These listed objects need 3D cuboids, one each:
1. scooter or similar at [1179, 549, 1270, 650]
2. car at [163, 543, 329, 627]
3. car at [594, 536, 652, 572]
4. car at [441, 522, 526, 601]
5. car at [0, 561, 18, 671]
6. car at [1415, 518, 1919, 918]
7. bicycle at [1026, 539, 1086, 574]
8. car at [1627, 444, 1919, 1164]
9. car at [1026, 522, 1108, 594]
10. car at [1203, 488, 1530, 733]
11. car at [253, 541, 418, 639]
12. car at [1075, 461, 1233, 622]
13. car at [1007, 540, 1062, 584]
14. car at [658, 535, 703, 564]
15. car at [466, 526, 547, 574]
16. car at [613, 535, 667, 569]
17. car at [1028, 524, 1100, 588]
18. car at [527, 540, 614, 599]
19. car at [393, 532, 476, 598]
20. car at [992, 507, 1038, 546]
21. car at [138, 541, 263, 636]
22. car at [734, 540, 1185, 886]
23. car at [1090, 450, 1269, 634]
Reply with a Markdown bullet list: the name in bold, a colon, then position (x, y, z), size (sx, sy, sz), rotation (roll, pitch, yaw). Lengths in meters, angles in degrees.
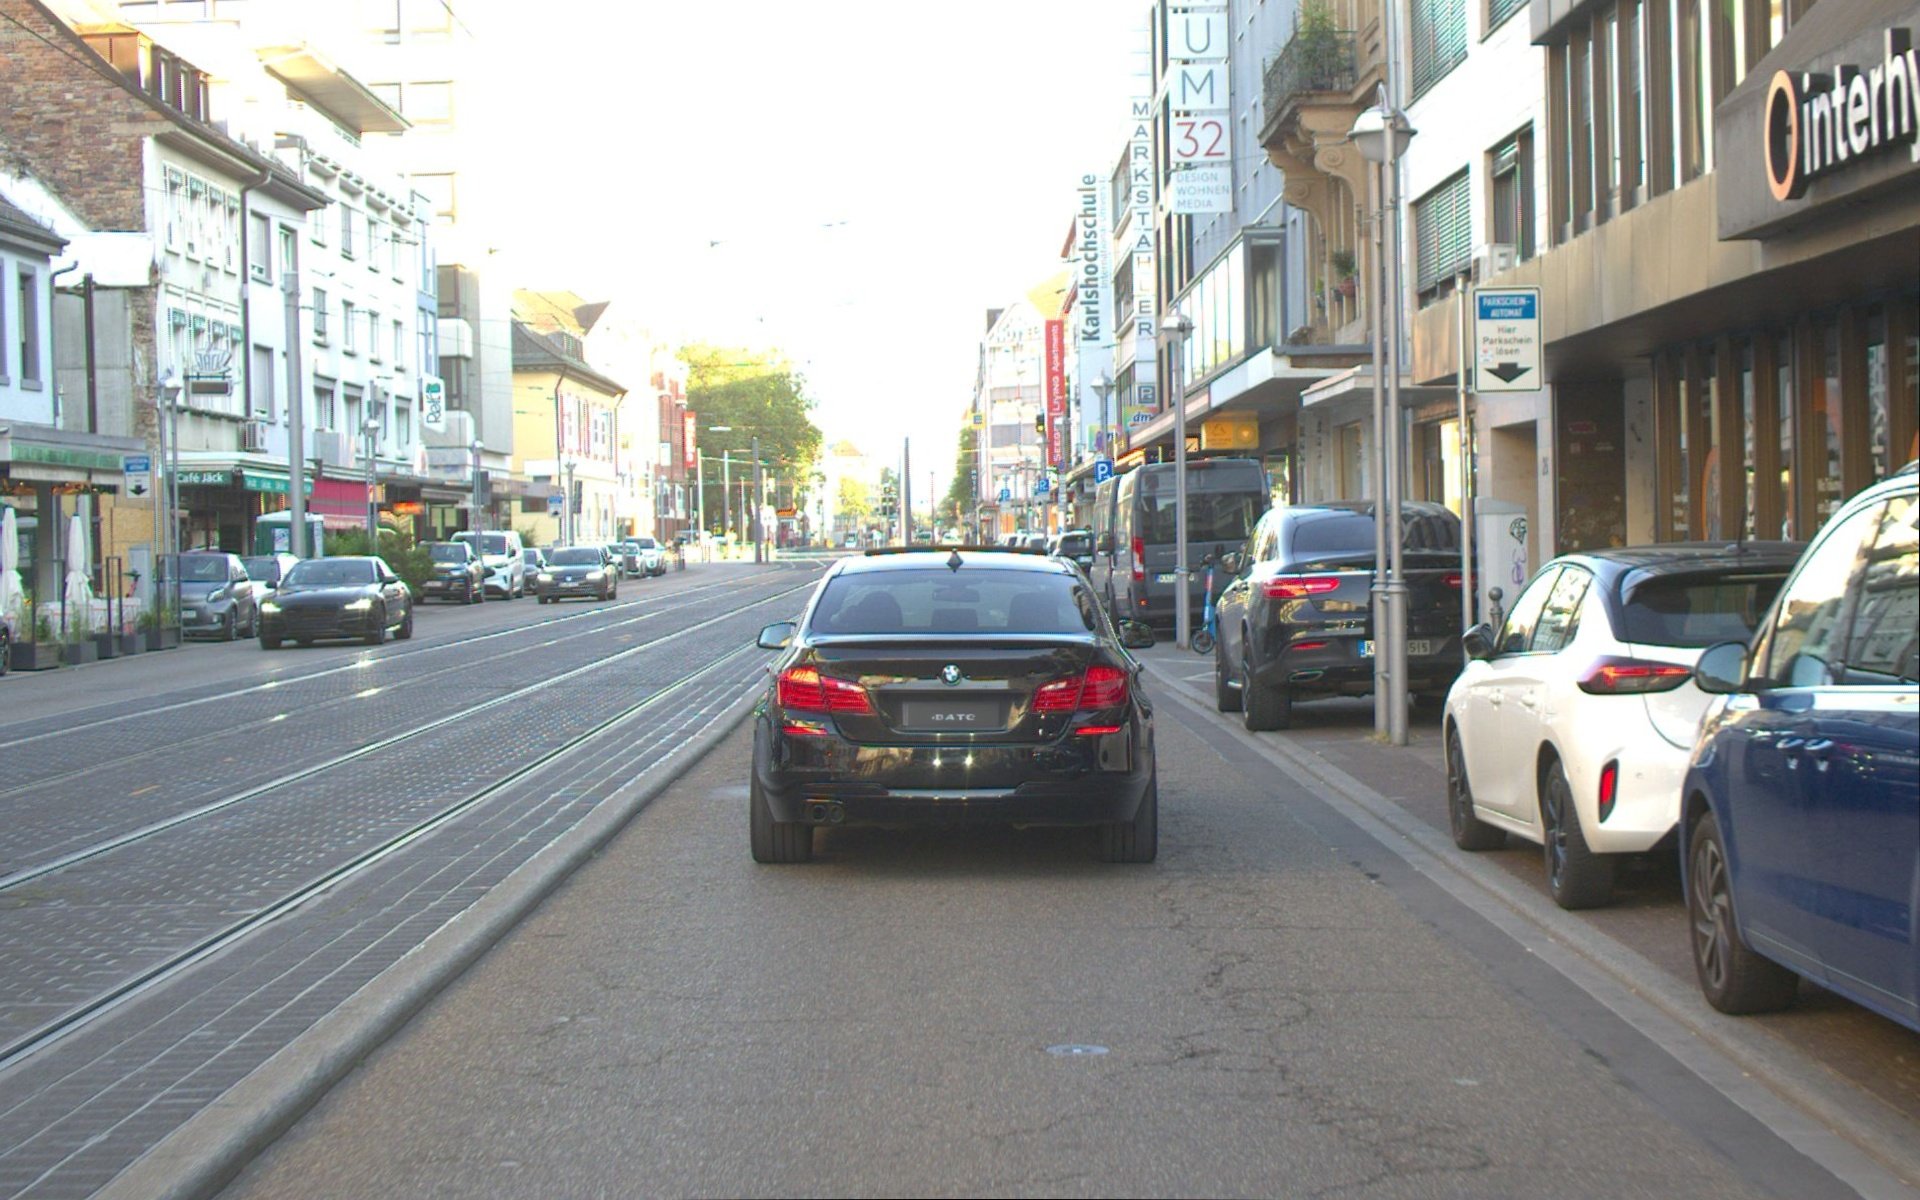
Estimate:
- **scooter or similar**: position (3.287, -0.015, 42.642), size (0.499, 1.216, 1.262), rotation (0, 1, 37)
- **car**: position (-13.276, -0.305, 64.212), size (1.993, 1.448, 4.822), rotation (-1, 1, 1)
- **car**: position (-13.852, -1.900, 141.550), size (1.928, 1.430, 4.246), rotation (-1, 1, 0)
- **car**: position (-13.611, -1.125, 98.505), size (1.993, 2.149, 4.911), rotation (-1, 1, -3)
- **car**: position (-13.316, 0.226, 43.684), size (1.598, 1.435, 3.812), rotation (0, 1, 1)
- **car**: position (3.194, 0.407, 15.127), size (1.795, 1.428, 3.887), rotation (-3, 2, 0)
- **bicycle**: position (3.026, -1.378, 108.278), size (1.861, 1.076, 0.468), rotation (-1, 0, 1)
- **car**: position (3.258, 0.428, 9.179), size (1.993, 1.721, 4.577), rotation (-3, 1, 0)
- **car**: position (2.432, -0.984, 78.931), size (1.654, 1.532, 3.886), rotation (-2, 1, 0)
- **car**: position (3.112, 0.031, 27.227), size (1.993, 1.721, 4.565), rotation (-2, 1, 0)
- **car**: position (-9.980, -0.197, 55.260), size (1.993, 1.448, 4.650), rotation (-1, 1, -3)
- **car**: position (3.142, -0.976, 56.782), size (2.033, 2.446, 5.410), rotation (-3, 1, -2)
- **car**: position (2.688, -1.350, 124.575), size (1.903, 1.543, 3.780), rotation (-1, 0, 0)
- **car**: position (-13.893, -2.510, 171.007), size (1.928, 1.430, 4.246), rotation (0, 1, 0)
- **car**: position (-13.899, -1.550, 105.670), size (1.928, 1.430, 4.246), rotation (0, 1, 0)
- **car**: position (-13.739, -2.080, 147.875), size (1.928, 1.430, 4.246), rotation (0, 1, 0)
- **car**: position (2.530, -1.091, 84.344), size (1.559, 1.437, 3.709), rotation (-3, 1, 0)
- **car**: position (-10.203, -0.824, 90.348), size (1.691, 1.448, 4.465), rotation (-1, 1, 1)
- **car**: position (-13.833, -0.930, 90.672), size (1.865, 1.679, 4.001), rotation (-1, 1, -5)
- **car**: position (2.198, -2.963, 138.935), size (1.774, 1.543, 3.503), rotation (-1, 0, 0)
- **car**: position (-13.127, -0.217, 59.518), size (1.477, 1.572, 2.795), rotation (-1, 1, 1)
- **car**: position (0.044, 0.480, 17.121), size (1.953, 1.493, 4.465), rotation (0, 0, 1)
- **car**: position (3.137, -0.860, 50.385), size (2.092, 2.446, 6.033), rotation (-2, 1, 0)
